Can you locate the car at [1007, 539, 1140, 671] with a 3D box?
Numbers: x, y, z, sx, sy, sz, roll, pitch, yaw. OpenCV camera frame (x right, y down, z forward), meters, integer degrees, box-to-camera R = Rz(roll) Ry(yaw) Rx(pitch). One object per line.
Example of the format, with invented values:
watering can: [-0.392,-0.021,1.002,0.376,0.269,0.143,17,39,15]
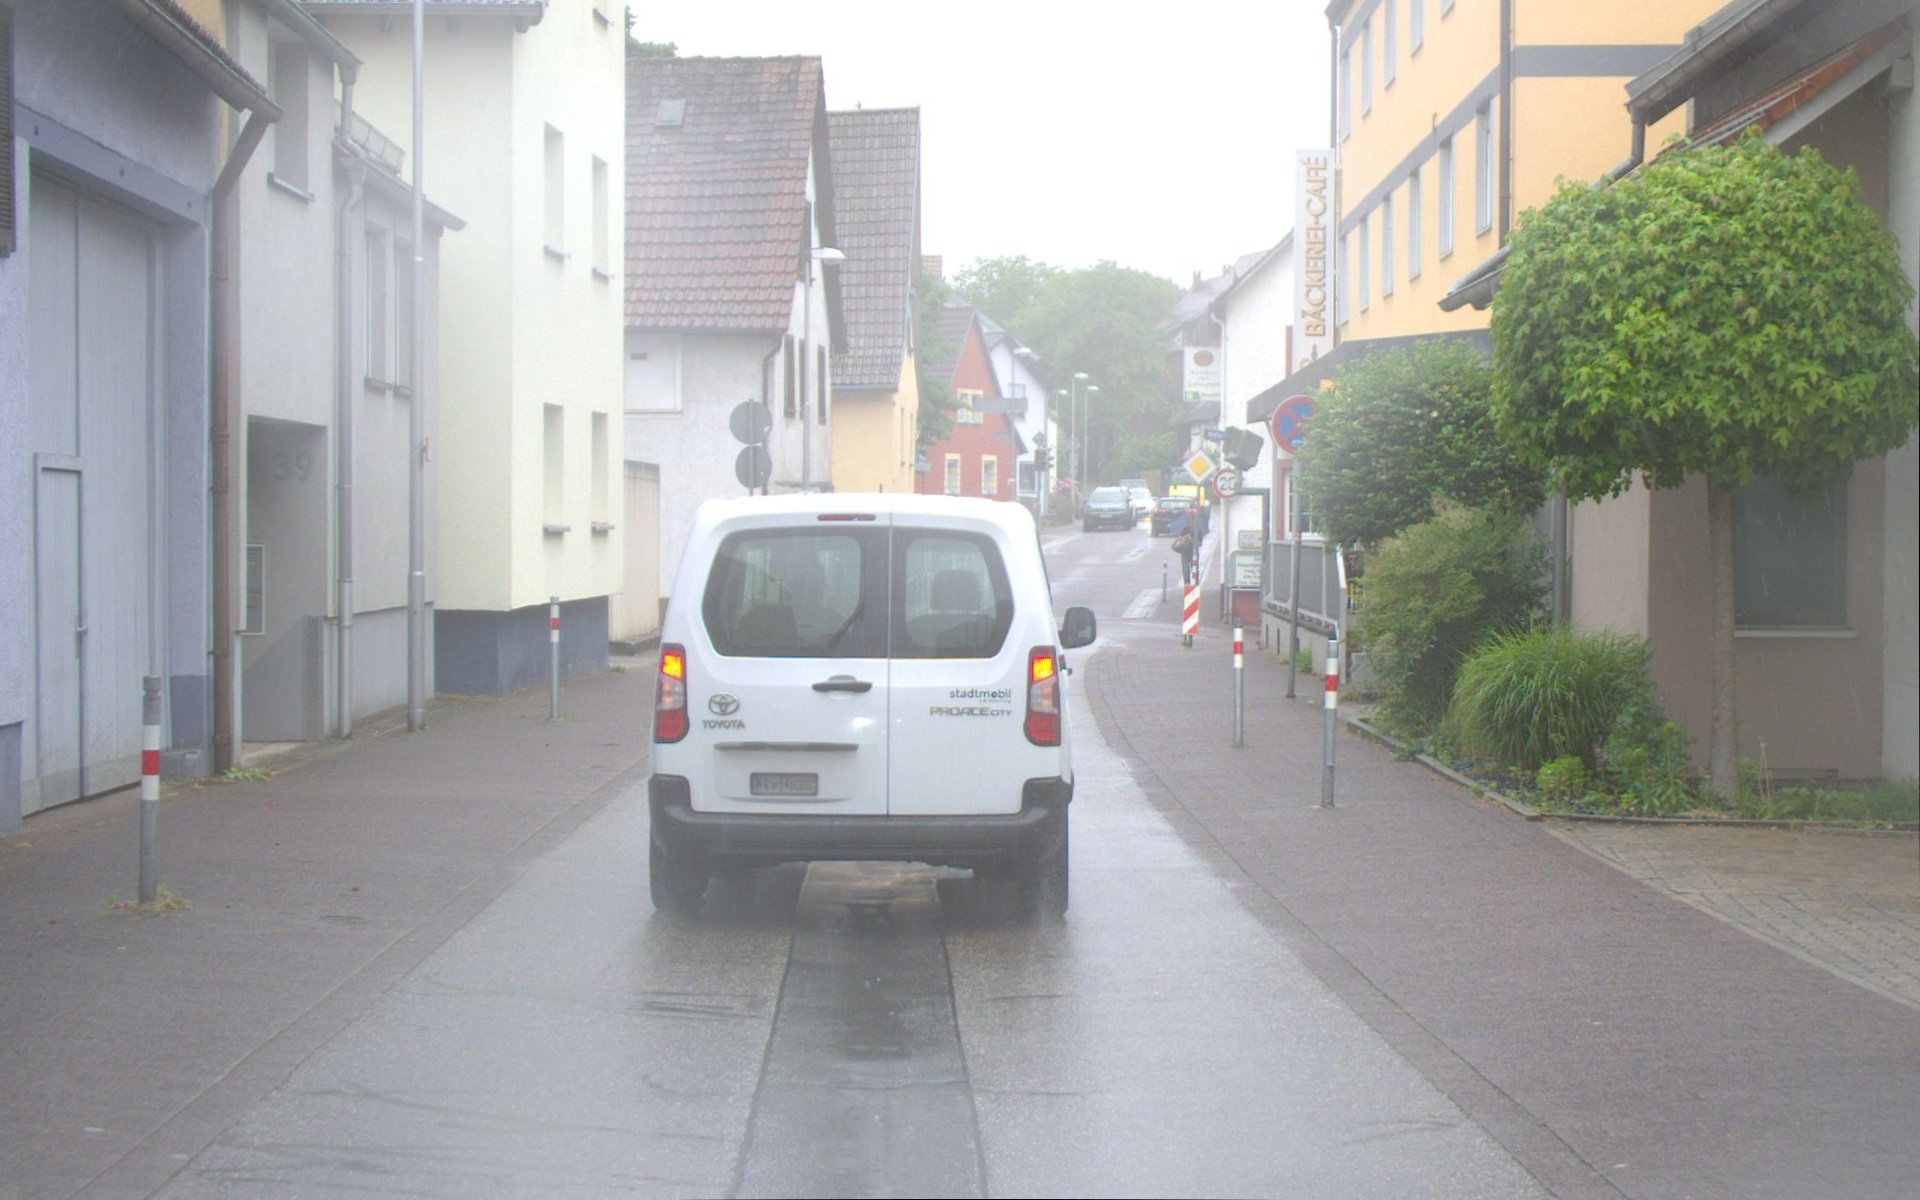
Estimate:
car: [1.861,0.048,55.031,1.994,2.007,4.000,-1,1,4]

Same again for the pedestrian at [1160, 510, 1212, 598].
pedestrian: [4.914,-1.006,74.900,1.050,1.886,0.877,-1,1,0]

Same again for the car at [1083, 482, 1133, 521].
car: [5.856,-3.882,135.615,1.589,1.436,3.765,2,1,8]

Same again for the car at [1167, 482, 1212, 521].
car: [9.152,-3.907,136.820,1.589,1.436,3.765,2,1,7]

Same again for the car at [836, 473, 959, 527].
car: [-2.041,-3.242,111.669,3.420,1.554,2.001,-4,3,-22]

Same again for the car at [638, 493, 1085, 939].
car: [-0.414,0.437,15.812,1.774,1.774,4.000,-1,1,-1]
